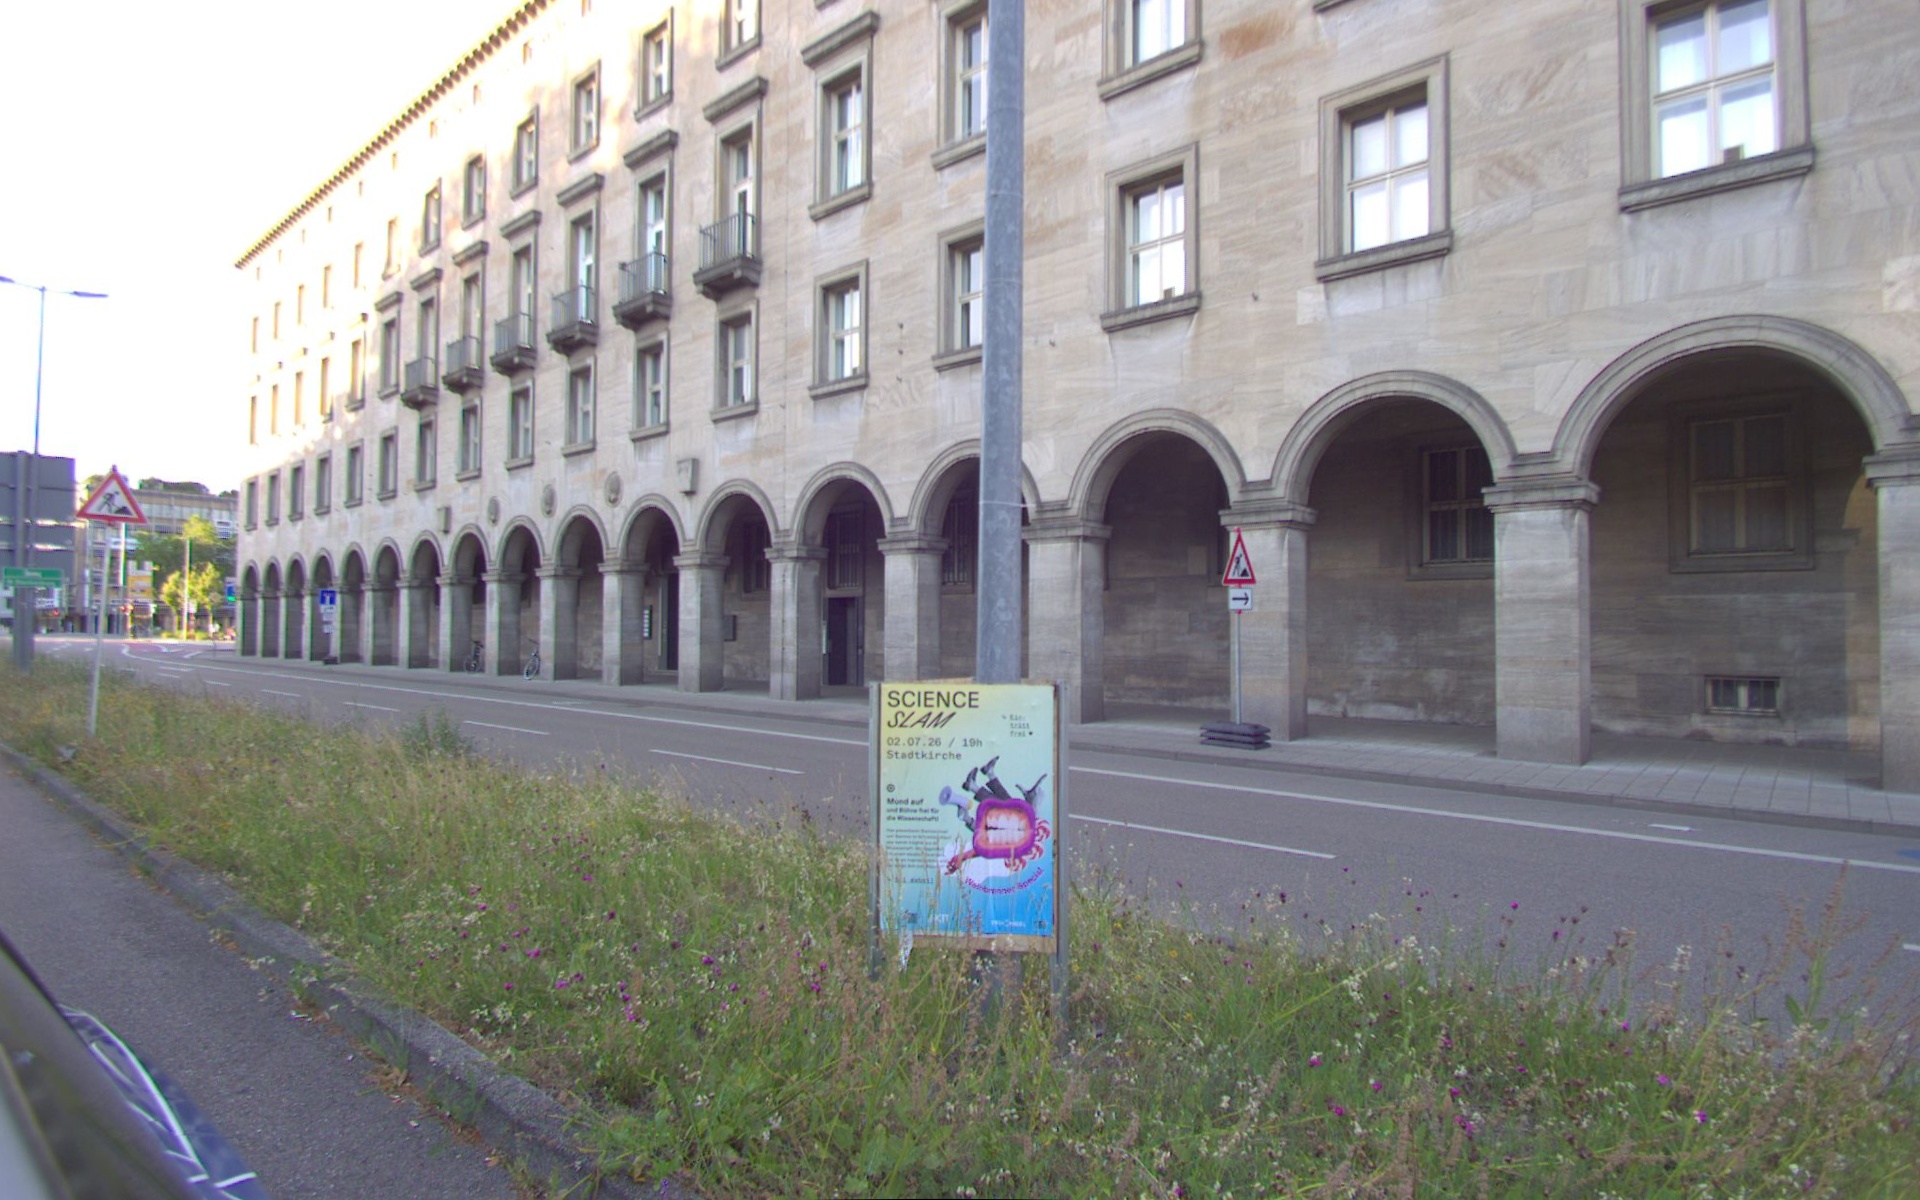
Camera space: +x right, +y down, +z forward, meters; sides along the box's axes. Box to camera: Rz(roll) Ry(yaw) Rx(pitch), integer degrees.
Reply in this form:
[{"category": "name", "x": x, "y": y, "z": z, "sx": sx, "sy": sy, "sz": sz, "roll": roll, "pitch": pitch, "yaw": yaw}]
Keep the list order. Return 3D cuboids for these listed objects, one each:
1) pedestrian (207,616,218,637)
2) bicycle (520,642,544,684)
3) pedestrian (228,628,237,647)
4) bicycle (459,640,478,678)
[{"category": "pedestrian", "x": -61.380, "y": 2.184, "z": 83.087, "sx": 0.506, "sy": 1.771, "sz": 0.630, "roll": -2, "pitch": -3, "yaw": 41}, {"category": "bicycle", "x": -12.763, "y": 1.862, "z": 30.206, "sx": 0.505, "sy": 1.130, "sz": 2.431, "roll": 1, "pitch": -1, "yaw": -20}, {"category": "pedestrian", "x": -60.418, "y": 3.084, "z": 84.055, "sx": 0.389, "sy": 1.553, "sz": 0.519, "roll": -2, "pitch": -3, "yaw": 41}, {"category": "bicycle", "x": -16.115, "y": 1.928, "z": 33.225, "sx": 0.505, "sy": 1.188, "sz": 2.431, "roll": 1, "pitch": -2, "yaw": -25}]
